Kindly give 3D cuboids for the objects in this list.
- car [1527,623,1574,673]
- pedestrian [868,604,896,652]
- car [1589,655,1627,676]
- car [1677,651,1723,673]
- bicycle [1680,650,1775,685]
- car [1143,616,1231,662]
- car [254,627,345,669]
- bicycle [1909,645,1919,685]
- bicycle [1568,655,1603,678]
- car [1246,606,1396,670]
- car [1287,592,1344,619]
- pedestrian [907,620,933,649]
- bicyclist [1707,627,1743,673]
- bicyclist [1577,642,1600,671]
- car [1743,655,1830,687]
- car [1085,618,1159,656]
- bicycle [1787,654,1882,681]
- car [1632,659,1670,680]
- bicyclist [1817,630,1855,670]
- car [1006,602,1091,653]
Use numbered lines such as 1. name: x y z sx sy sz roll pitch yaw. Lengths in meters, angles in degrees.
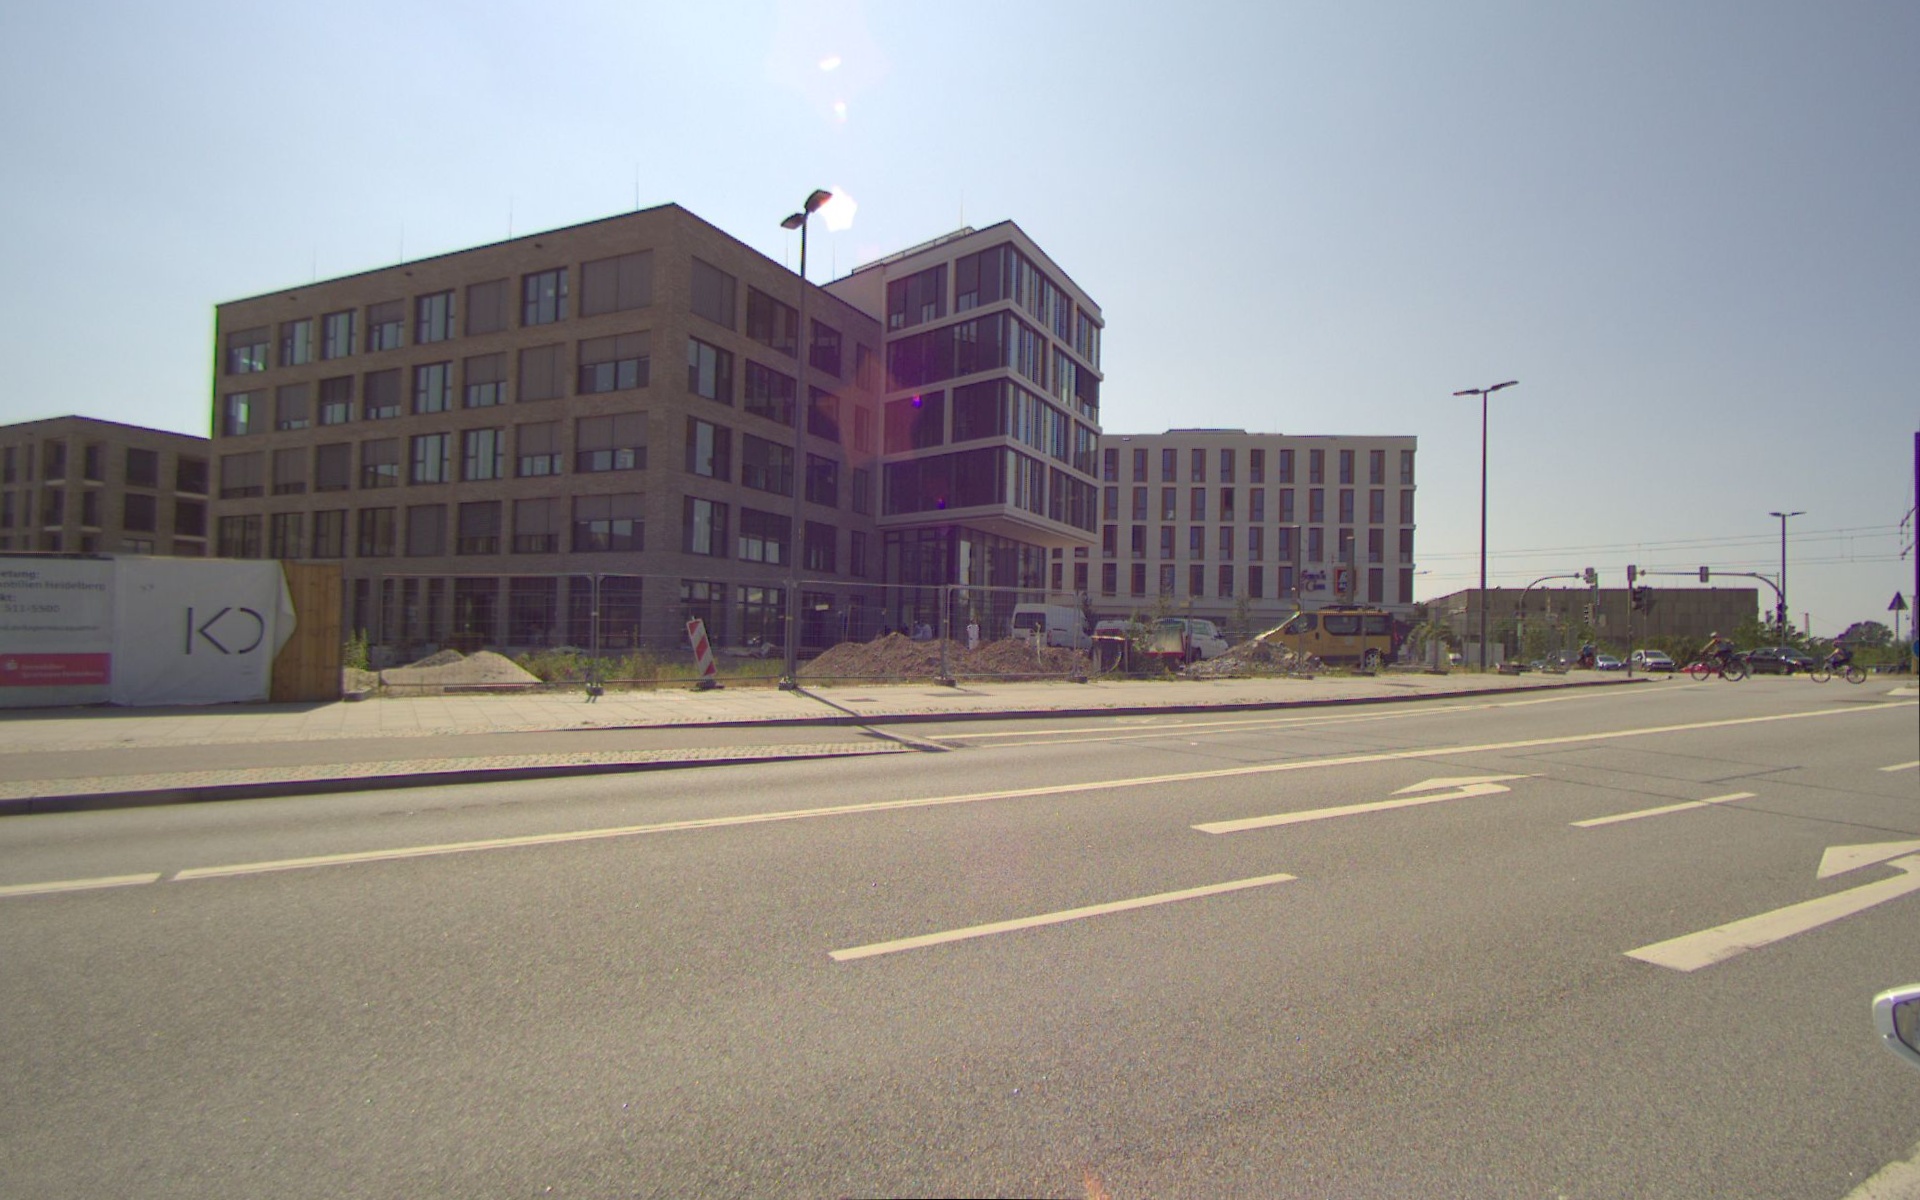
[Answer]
1. car: 26.264 2.073 44.625 1.646 2.040 3.991 2 0 32
2. pedestrian: -3.379 1.200 43.309 0.949 2.040 0.940 2 0 -17
3. car: 51.222 5.162 79.452 1.554 1.458 3.155 2 0 16
4. car: 63.641 5.341 86.451 1.614 1.677 3.393 2 0 5
5. bicycle: 25.796 2.250 33.821 0.598 1.020 2.493 2 -1 -29
6. car: 9.576 1.610 42.142 1.969 1.730 4.546 2 0 35
7. car: -30.405 2.170 46.230 3.708 1.675 1.834 2 0 26
8. bicycle: 29.050 1.828 28.811 0.722 1.148 2.505 0 -5 -39
9. bicycle: 35.192 3.717 56.537 0.624 1.148 2.327 1 0 2
10. car: 12.057 1.242 33.818 4.395 1.915 2.001 2 0 8
11. car: 29.017 0.426 82.046 1.986 2.040 3.949 2 0 -43
12. pedestrian: -1.958 1.694 49.445 1.099 1.391 0.742 2 0 -17
13. bicyclist: 25.795 1.684 33.873 0.833 1.522 0.654 2 0 -29
14. bicyclist: 35.185 3.151 56.207 0.808 1.524 0.721 2 0 1
15. car: 45.025 3.846 54.835 1.633 1.408 3.788 2 0 1
16. car: 7.113 1.593 43.750 1.773 1.528 3.991 2 0 31
17. bicycle: 27.563 2.112 31.696 0.509 0.701 2.236 2 -1 -29
18. car: 47.162 4.746 68.560 1.253 1.257 2.486 1 -1 12
19. bicyclist: 27.607 1.577 31.660 0.722 1.191 0.654 2 0 -29
20. car: 3.974 1.216 44.720 2.175 2.083 4.164 2 0 30
